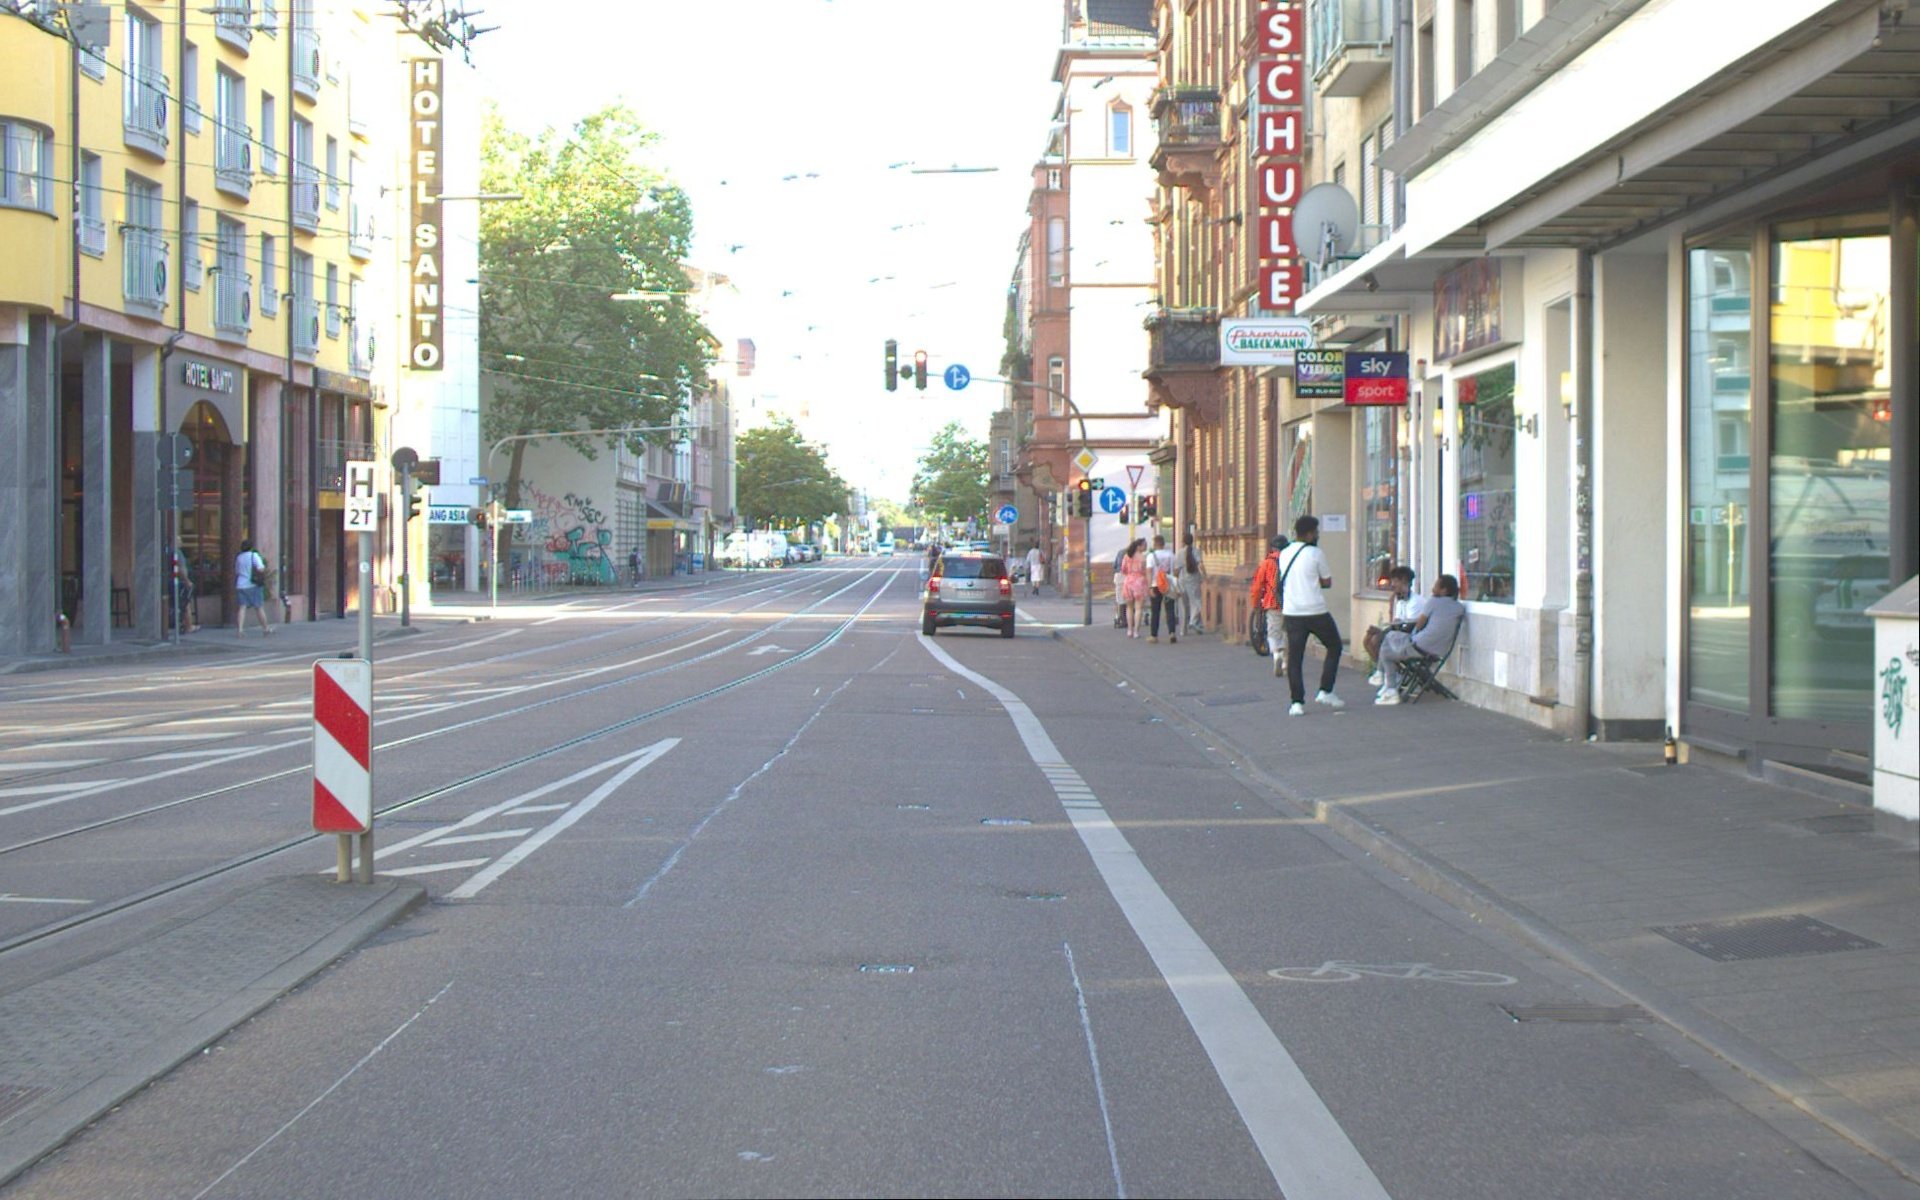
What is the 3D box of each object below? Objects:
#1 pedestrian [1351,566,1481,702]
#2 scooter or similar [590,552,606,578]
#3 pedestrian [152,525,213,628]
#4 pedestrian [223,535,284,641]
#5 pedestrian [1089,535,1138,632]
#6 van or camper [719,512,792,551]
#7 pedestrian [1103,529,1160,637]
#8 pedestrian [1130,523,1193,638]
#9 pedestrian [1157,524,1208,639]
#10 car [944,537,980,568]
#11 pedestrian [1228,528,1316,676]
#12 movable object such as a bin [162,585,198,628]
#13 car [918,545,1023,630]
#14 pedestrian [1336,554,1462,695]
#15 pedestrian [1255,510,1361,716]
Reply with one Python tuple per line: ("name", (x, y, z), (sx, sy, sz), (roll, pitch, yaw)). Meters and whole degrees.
("pedestrian", (4.217, 0.311, 31.829), (0.704, 1.170, 1.016), (-6, 1, -19))
("scooter or similar", (-14.875, -1.445, 141.281), (0.516, 1.053, 1.478), (0, 1, -2))
("pedestrian", (-13.961, -0.430, 61.768), (0.797, 1.765, 0.749), (5, 1, 0))
("pedestrian", (-12.688, -0.225, 61.772), (0.751, 1.812, 1.046), (5, 1, 0))
("pedestrian", (2.964, -0.326, 66.456), (0.805, 1.793, 0.761), (-4, 1, 0))
("van or camper", (-14.202, -4.750, 238.576), (4.634, 2.554, 2.000), (1, 0, -31))
("pedestrian", (2.966, -0.302, 59.580), (0.805, 1.793, 0.761), (-4, 1, -2))
("pedestrian", (3.239, -0.322, 55.435), (0.805, 1.793, 1.092), (-4, 1, -2))
("pedestrian", (3.784, -0.319, 58.563), (0.690, 1.902, 0.670), (-4, 1, -2))
("car", (0.110, -2.646, 190.244), (1.950, 1.678, 4.000), (0, 1, 1))
("pedestrian", (3.608, 0.015, 39.839), (0.798, 1.622, 0.825), (-5, 1, 0))
("movable object such as a bin", (-13.831, 0.108, 60.942), (0.383, 0.714, 0.841), (5, 1, 1))
("car", (0.179, -0.270, 67.437), (1.993, 1.612, 4.000), (0, 1, -1))
("pedestrian", (4.206, 0.237, 32.923), (0.828, 1.251, 0.707), (-6, 2, -35))
("pedestrian", (3.209, 0.115, 31.670), (0.705, 1.806, 0.679), (-5, 1, 15))
